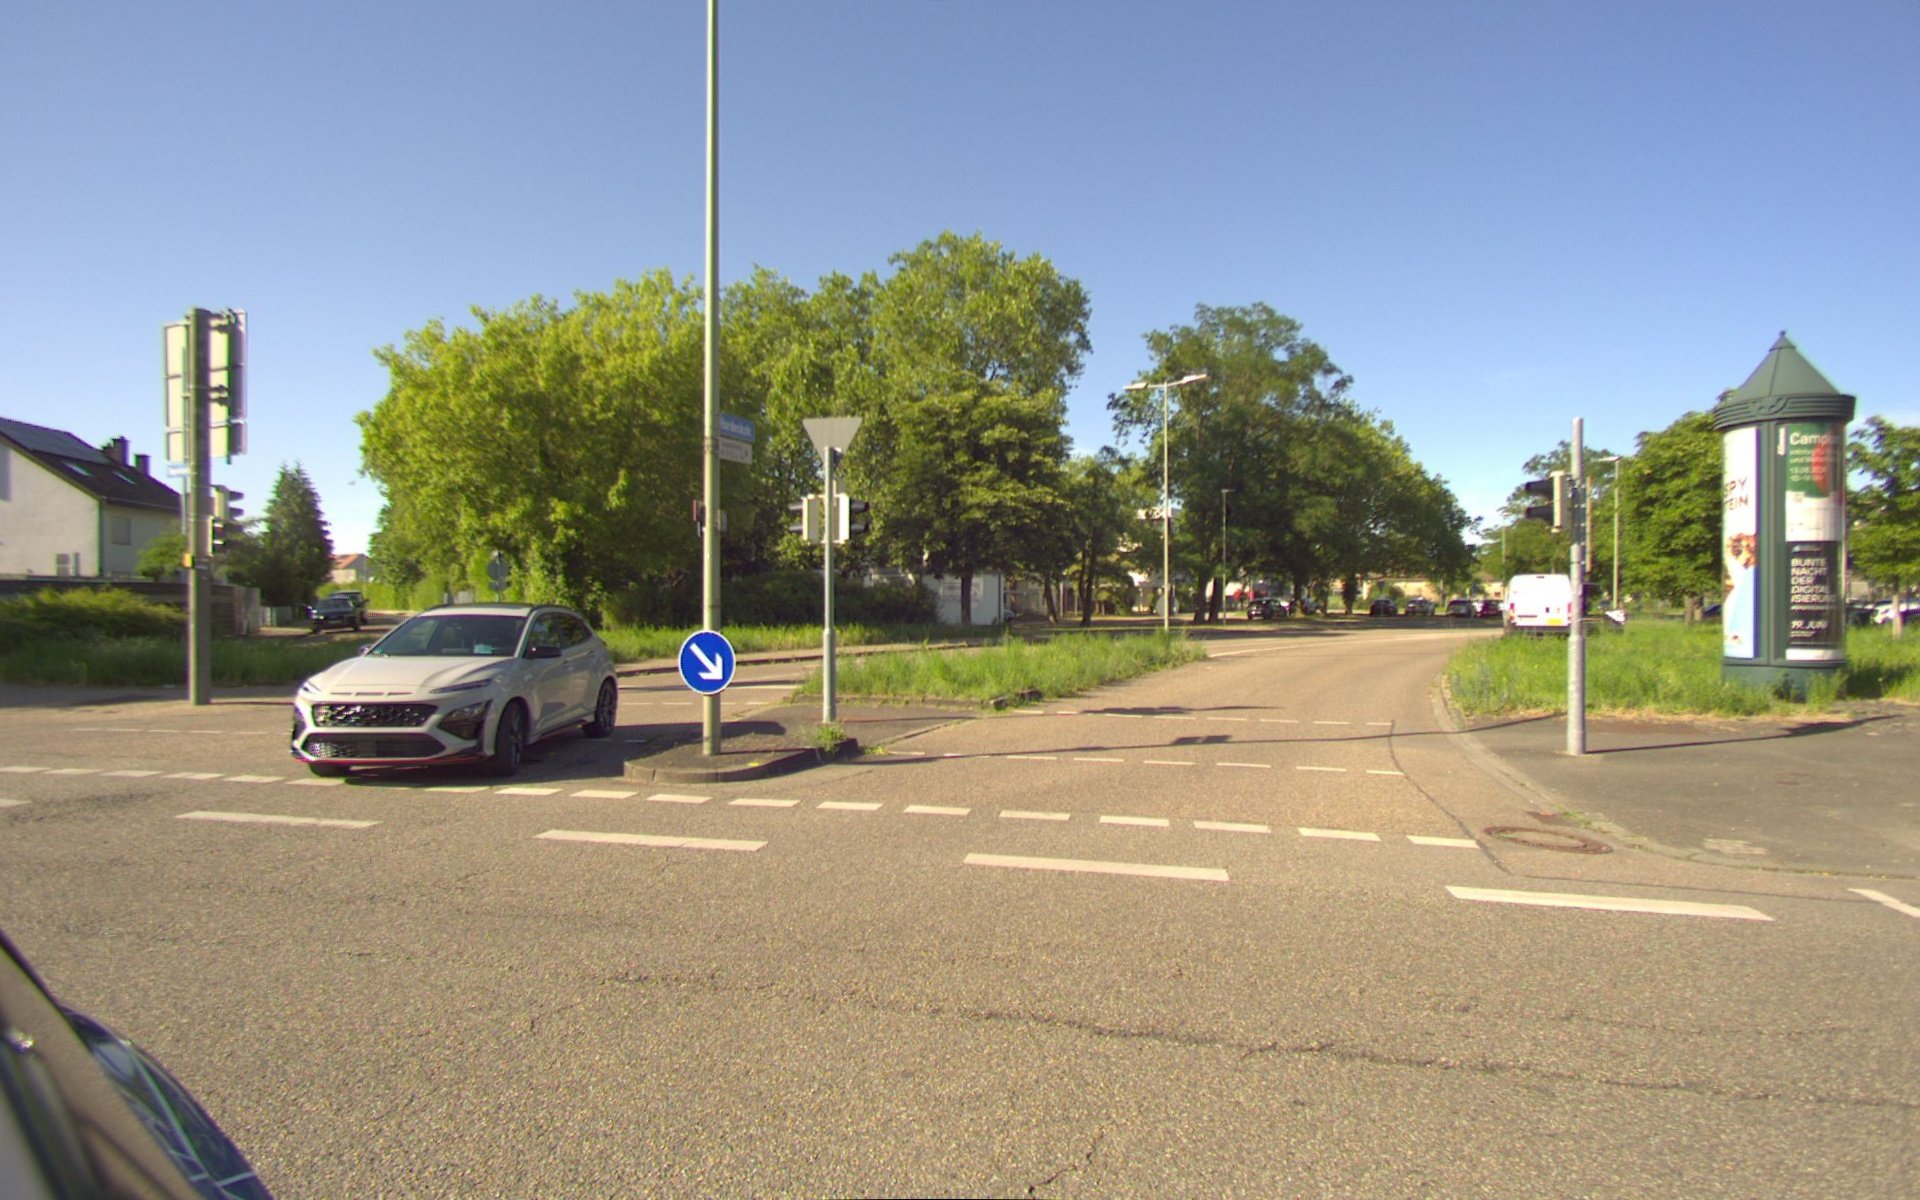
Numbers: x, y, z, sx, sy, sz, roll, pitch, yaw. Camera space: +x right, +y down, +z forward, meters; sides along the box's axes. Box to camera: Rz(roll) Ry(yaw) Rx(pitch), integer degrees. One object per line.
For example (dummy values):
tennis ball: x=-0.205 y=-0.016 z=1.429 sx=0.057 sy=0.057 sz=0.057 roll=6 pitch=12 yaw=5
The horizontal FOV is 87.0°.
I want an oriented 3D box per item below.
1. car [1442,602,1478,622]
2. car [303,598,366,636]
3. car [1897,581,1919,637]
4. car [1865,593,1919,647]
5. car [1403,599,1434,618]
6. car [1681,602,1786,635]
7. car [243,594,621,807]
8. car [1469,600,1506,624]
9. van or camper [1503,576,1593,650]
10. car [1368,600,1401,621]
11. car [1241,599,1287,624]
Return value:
car: x=39.715 y=0.939 z=80.354 sx=1.995 sy=1.460 sz=3.954 roll=2 pitch=2 yaw=34
car: x=-28.185 y=0.745 z=45.719 sx=1.965 sy=1.568 sz=4.013 roll=-1 pitch=0 yaw=-25
car: x=36.930 y=0.311 z=36.620 sx=3.976 sy=2.029 sz=1.984 roll=-1 pitch=-1 yaw=24
car: x=37.884 y=0.735 z=39.011 sx=3.974 sy=2.029 sz=1.984 roll=-1 pitch=0 yaw=23
car: x=39.380 y=0.719 z=86.981 sx=1.868 sy=1.451 sz=3.443 roll=2 pitch=2 yaw=34
car: x=37.674 y=0.898 z=49.423 sx=3.993 sy=1.541 sz=1.904 roll=0 pitch=-1 yaw=37
car: x=-4.974 y=0.809 z=10.258 sx=1.692 sy=1.658 sz=4.055 roll=0 pitch=1 yaw=0
car: x=39.873 y=0.859 z=76.442 sx=1.995 sy=1.678 sz=3.954 roll=1 pitch=2 yaw=34
van or camper: x=22.627 y=0.548 z=39.235 sx=2.593 sy=2.602 sz=6.550 roll=-1 pitch=-2 yaw=27
car: x=34.770 y=0.837 z=82.849 sx=1.733 sy=1.631 sz=3.954 roll=1 pitch=2 yaw=34
car: x=22.681 y=0.850 z=75.376 sx=2.007 sy=1.809 sz=3.949 roll=-1 pitch=0 yaw=38
